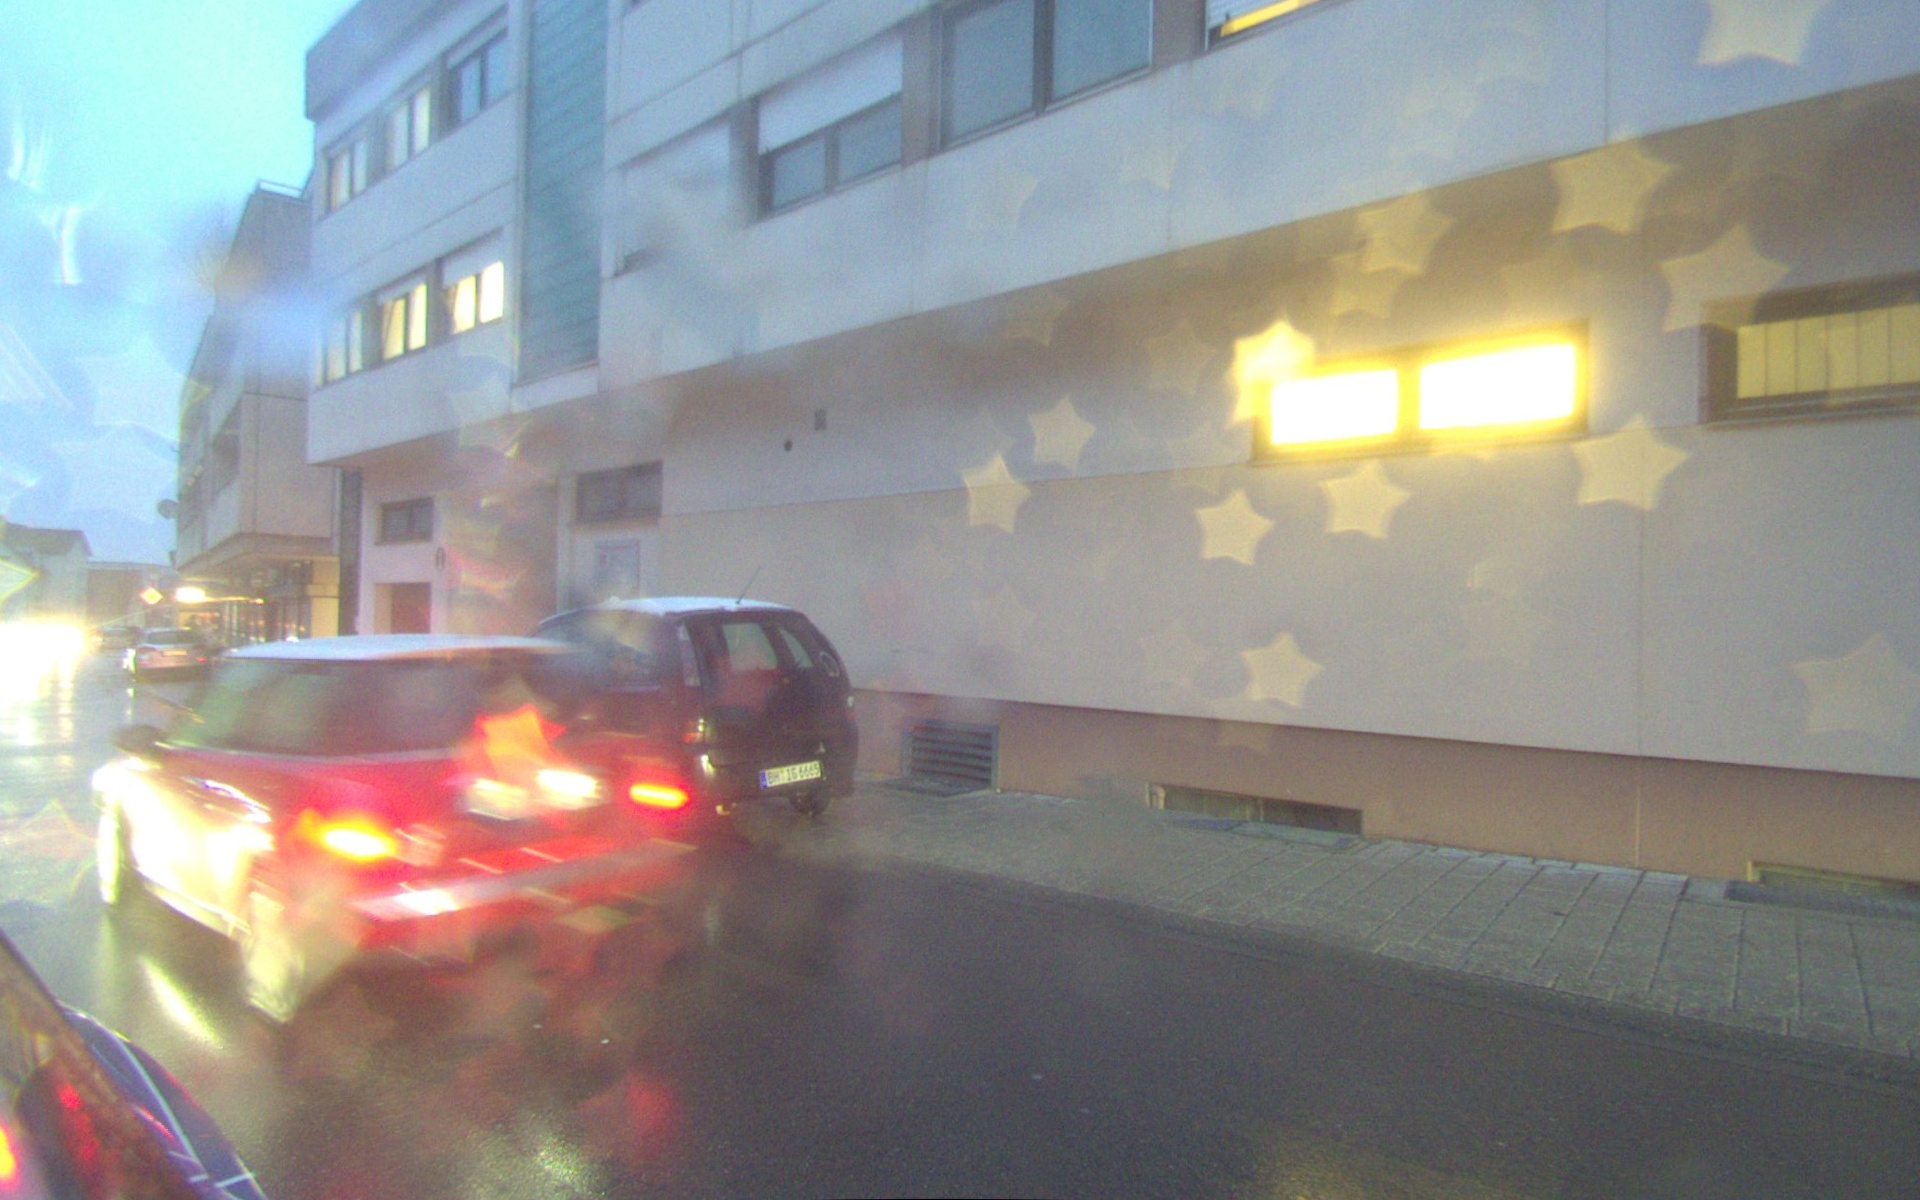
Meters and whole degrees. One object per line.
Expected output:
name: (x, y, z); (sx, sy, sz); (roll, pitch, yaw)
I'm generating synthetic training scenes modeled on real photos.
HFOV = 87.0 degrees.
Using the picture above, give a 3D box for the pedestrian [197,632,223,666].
pedestrian: (-30.312, 1.971, 40.905); (0.746, 1.320, 0.829); (0, -1, -43)

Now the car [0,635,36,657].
car: (-70.025, 3.398, 75.033); (1.770, 1.522, 4.009); (3, -4, -37)

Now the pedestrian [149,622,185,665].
pedestrian: (-36.899, 2.018, 47.106); (1.182, 1.953, 0.979); (2, -3, -33)

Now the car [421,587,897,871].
car: (-2.474, 0.793, 7.843); (3.810, 1.655, 1.775); (-2, -1, 41)

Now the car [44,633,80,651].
car: (-82.064, 3.815, 92.497); (1.770, 1.522, 4.011); (3, -3, -33)

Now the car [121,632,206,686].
car: (-23.487, 1.681, 29.789); (1.655, 1.457, 4.433); (1, -2, -42)

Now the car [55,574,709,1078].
car: (-2.908, 0.739, 4.843); (3.403, 1.547, 1.622); (-2, -2, 39)

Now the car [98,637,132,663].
car: (-56.712, 3.305, 67.955); (1.699, 1.626, 3.822); (-1, -1, -40)
